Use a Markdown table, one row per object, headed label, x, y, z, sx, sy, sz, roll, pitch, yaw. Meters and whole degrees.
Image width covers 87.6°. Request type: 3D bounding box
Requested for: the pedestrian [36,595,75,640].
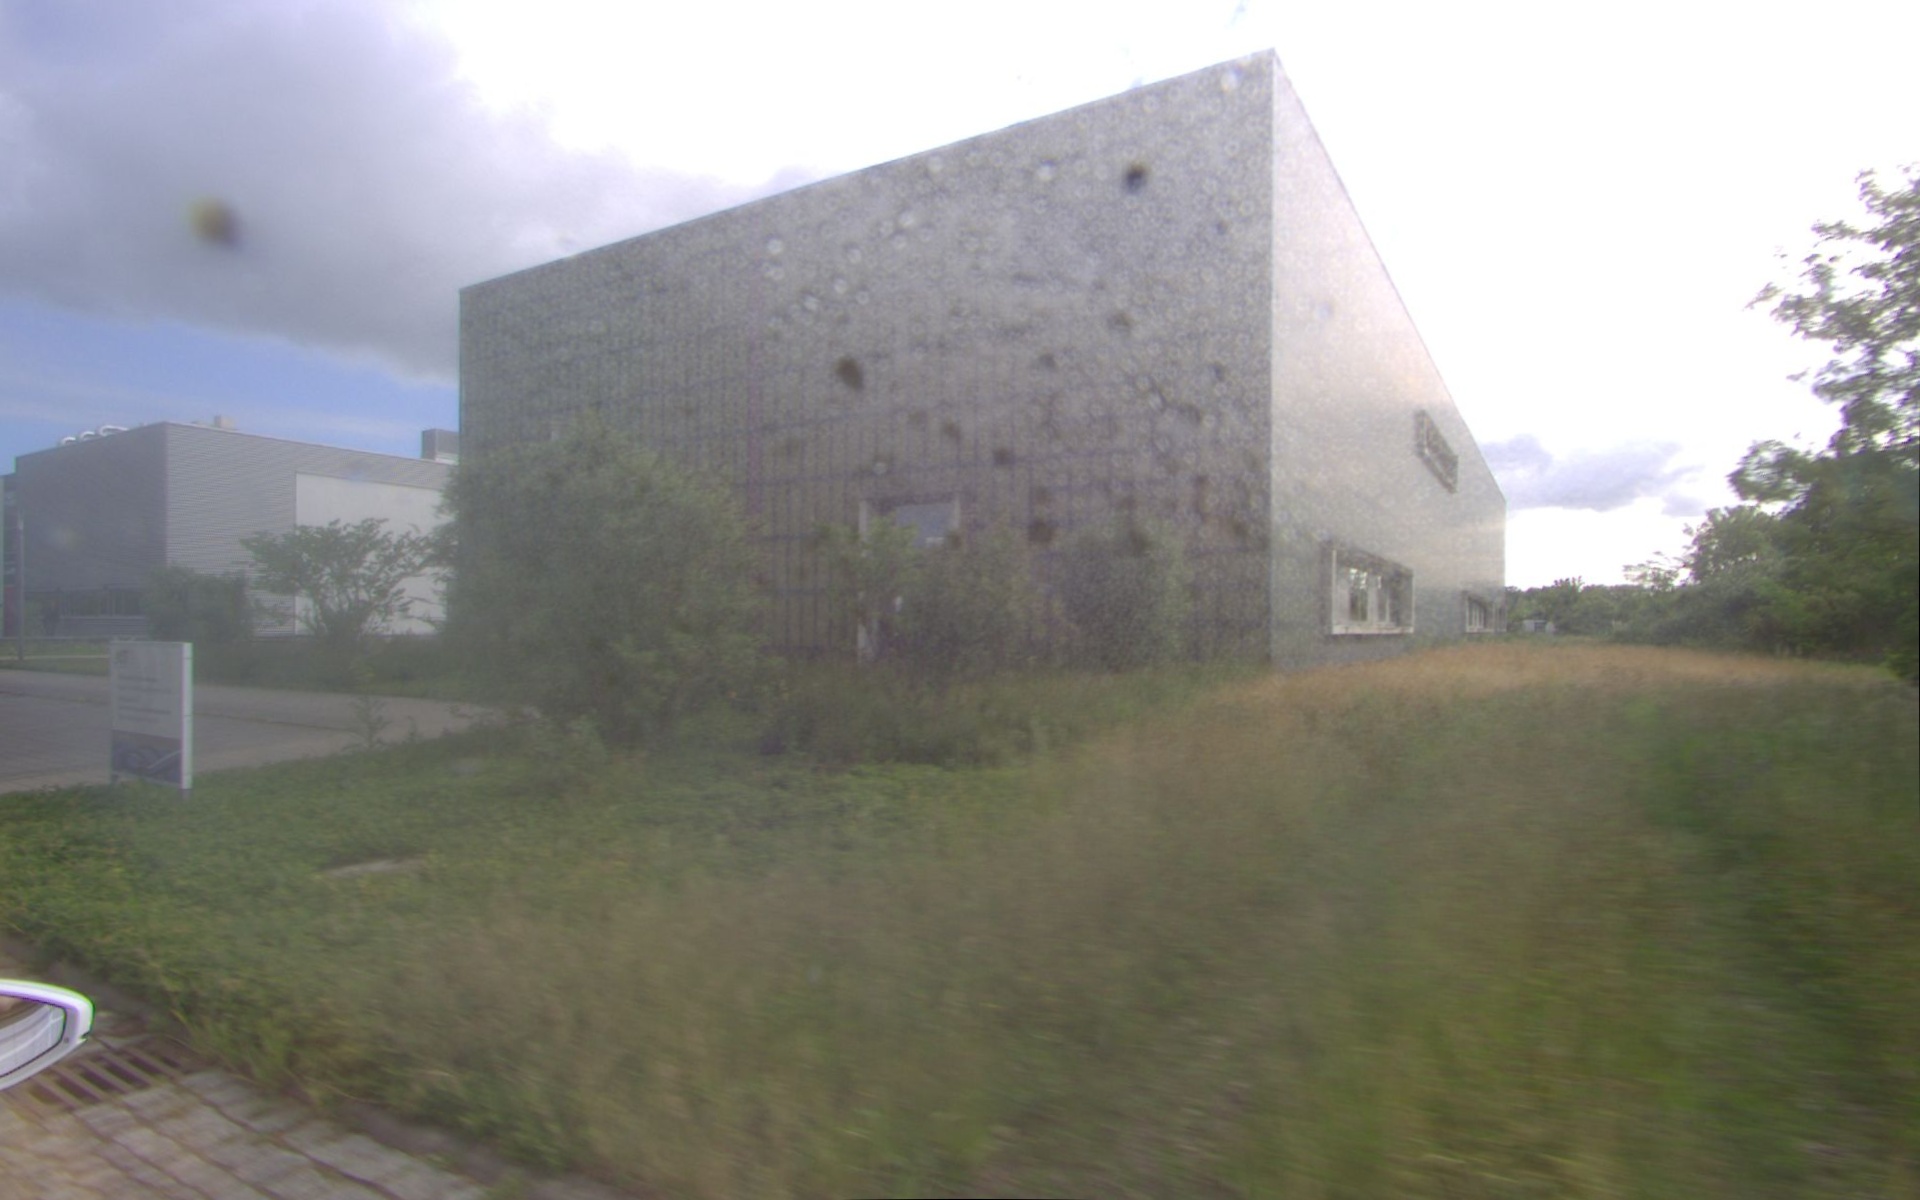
| label | x | y | z | sx | sy | sz | roll | pitch | yaw |
| --- | --- | --- | --- | --- | --- | --- | --- | --- | --- |
| pedestrian | -39.528 | 0.770 | 43.757 | 0.838 | 1.961 | 0.920 | 1 | -1 | 2 |
